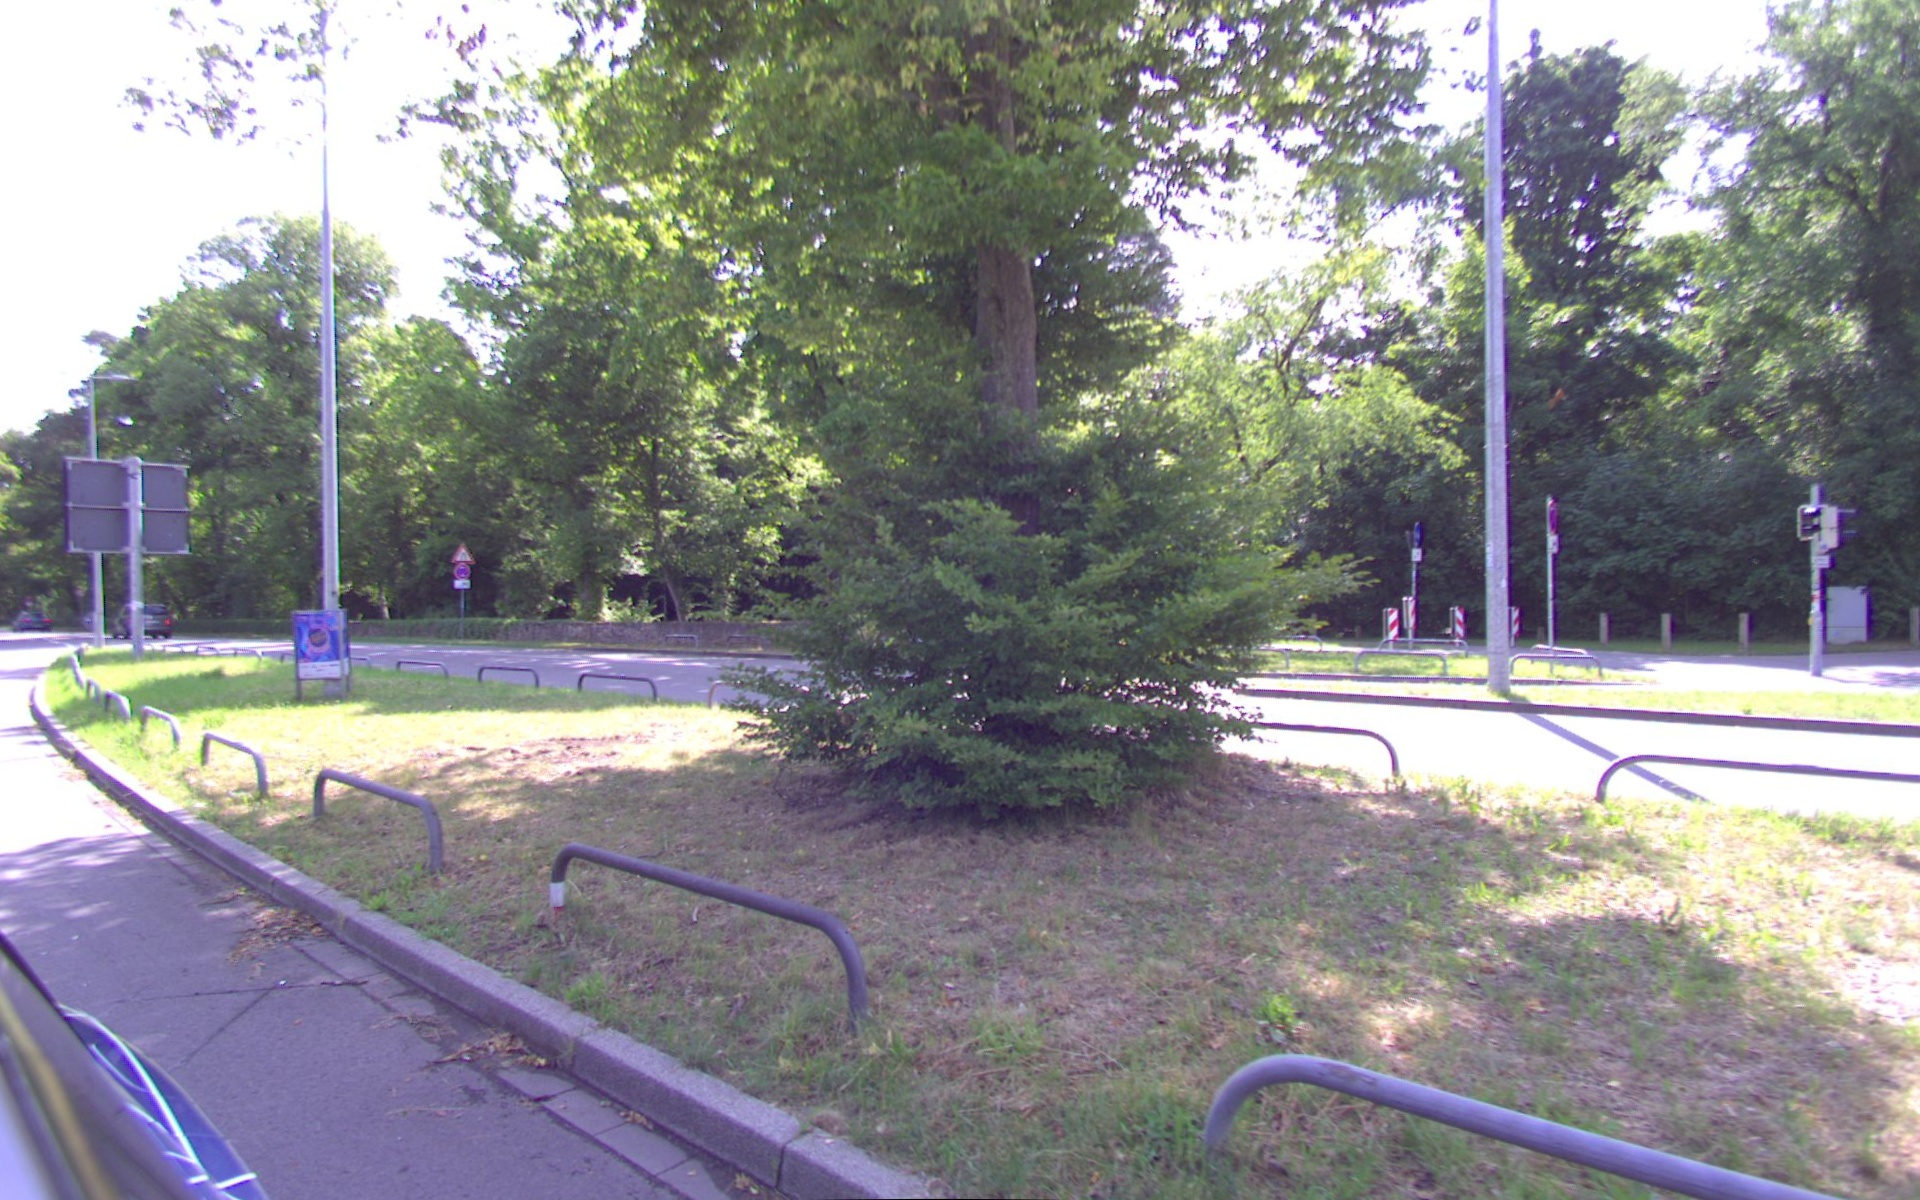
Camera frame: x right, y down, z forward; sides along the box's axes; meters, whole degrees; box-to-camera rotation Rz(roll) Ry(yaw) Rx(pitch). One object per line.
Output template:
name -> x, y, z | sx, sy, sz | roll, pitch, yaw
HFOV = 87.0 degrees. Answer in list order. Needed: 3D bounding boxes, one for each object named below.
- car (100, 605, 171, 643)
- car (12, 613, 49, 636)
car -> -39.246, 1.150, 48.143 | 4.295, 1.642, 1.744 | -1, 2, 40
car -> -65.796, 1.682, 71.590 | 4.068, 1.457, 1.676 | 1, 2, 44
